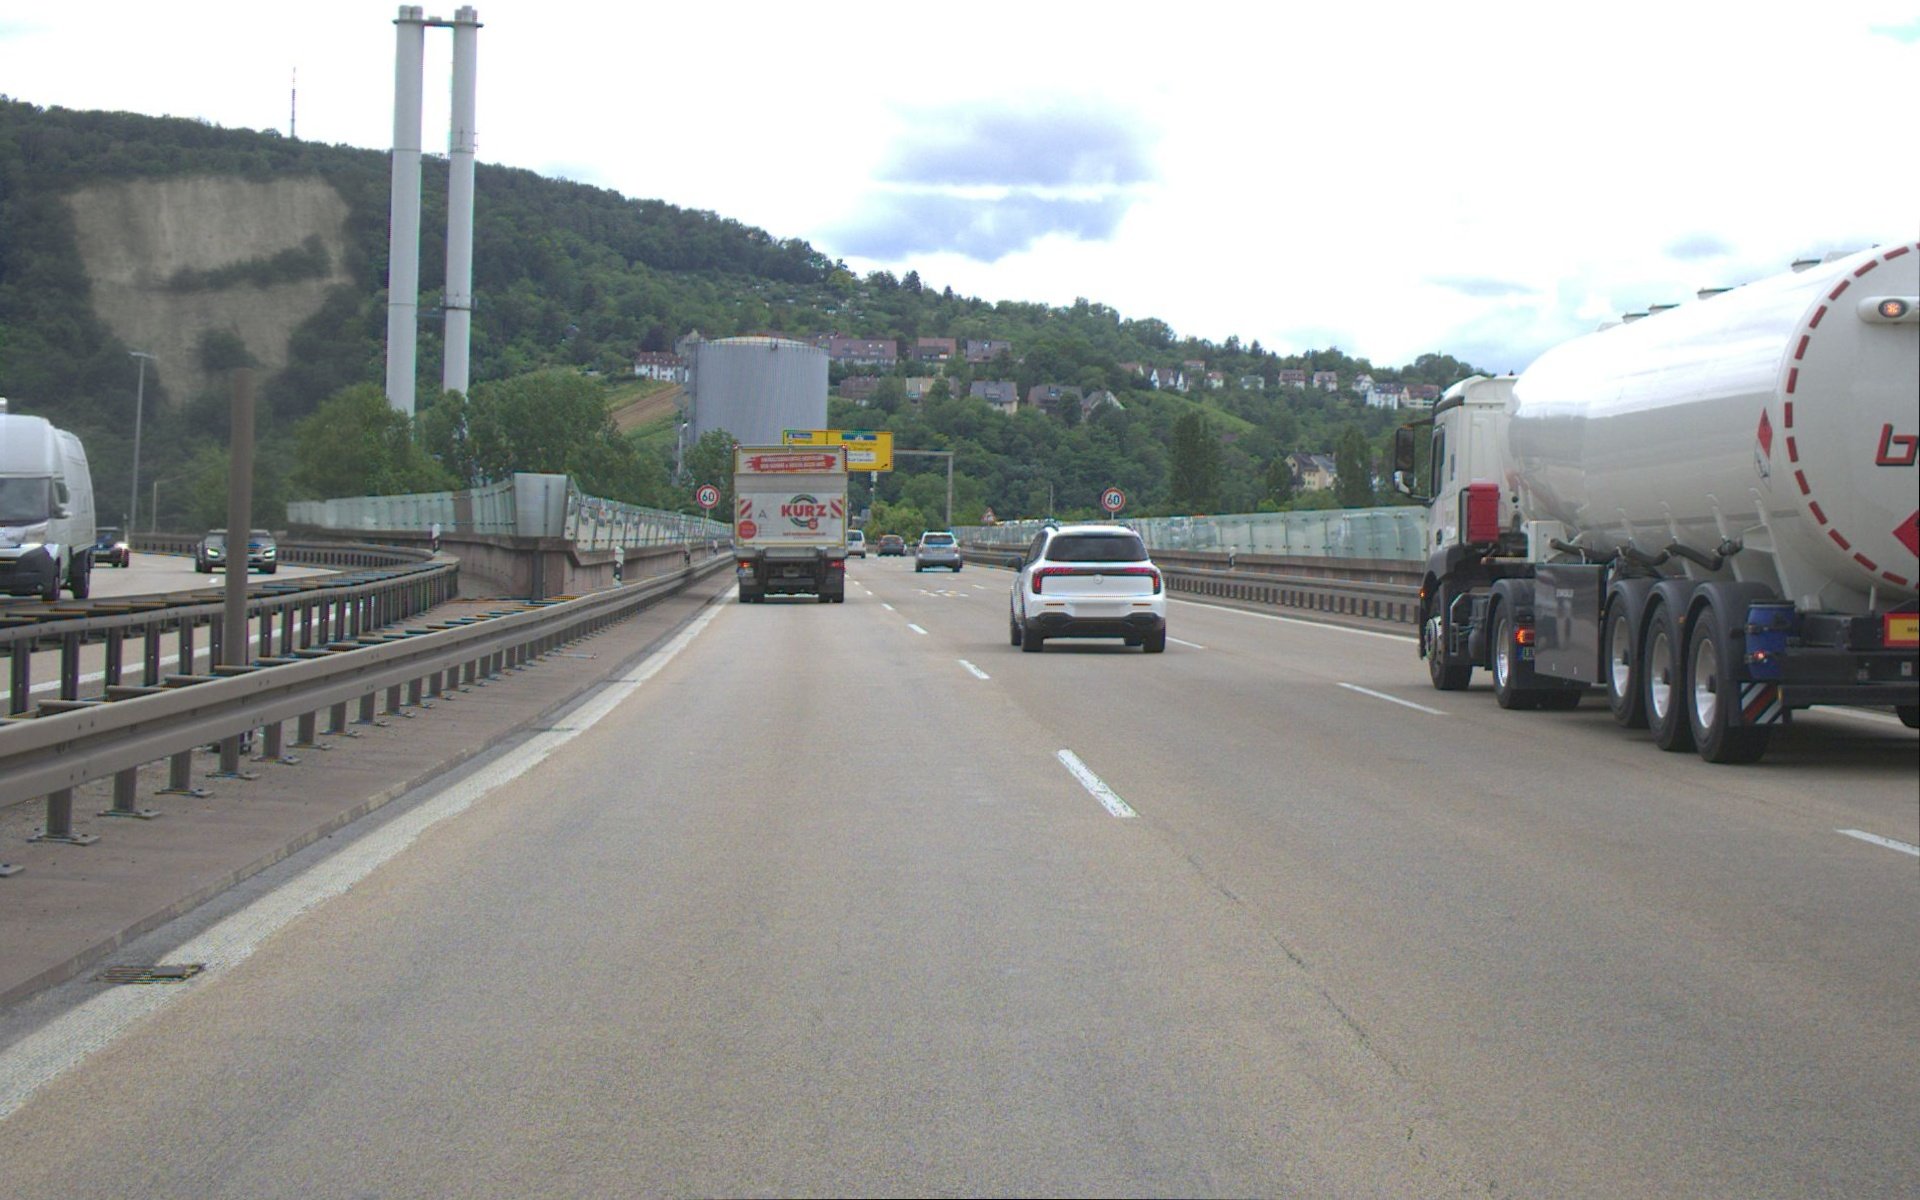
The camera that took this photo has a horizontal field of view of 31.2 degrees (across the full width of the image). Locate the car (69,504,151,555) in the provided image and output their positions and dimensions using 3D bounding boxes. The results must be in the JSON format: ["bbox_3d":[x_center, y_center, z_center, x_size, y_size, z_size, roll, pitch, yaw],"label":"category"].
[{"bbox_3d":[-24.982,-2.084,101.117,1.759,1.427,4.398,1,1,-6],"label":"car"}]

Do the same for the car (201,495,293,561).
[{"bbox_3d":[-18.514,-1.883,89.471,1.844,1.667,4.409,1,1,-5],"label":"car"}]

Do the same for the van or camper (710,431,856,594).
[{"bbox_3d":[-4.035,-1.999,80.120,3.121,3.567,8.551,1,1,-2],"label":"van or camper"}]

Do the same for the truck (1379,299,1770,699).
[{"bbox_3d":[5.736,-0.937,32.851,2.630,3.502,4.904,1,1,-2],"label":"truck"}]

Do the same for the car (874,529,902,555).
[{"bbox_3d":[-5.076,-4.133,242.690,1.923,1.779,4.114,1,1,-2],"label":"car"}]

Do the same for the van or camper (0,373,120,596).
[{"bbox_3d":[-15.254,-1.823,55.594,2.404,3.376,6.956,1,1,-7],"label":"van or camper"}]

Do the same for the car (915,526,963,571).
[{"bbox_3d":[-0.876,-2.163,143.546,1.924,1.779,4.113,1,1,0],"label":"car"}]

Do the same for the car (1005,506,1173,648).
[{"bbox_3d":[1.670,-0.345,45.931,1.923,1.779,4.114,1,1,-2],"label":"car"}]

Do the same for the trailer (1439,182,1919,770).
[{"bbox_3d":[6.028,-0.824,26.383,2.650,3.531,11.221,1,1,-2],"label":"trailer"}]
